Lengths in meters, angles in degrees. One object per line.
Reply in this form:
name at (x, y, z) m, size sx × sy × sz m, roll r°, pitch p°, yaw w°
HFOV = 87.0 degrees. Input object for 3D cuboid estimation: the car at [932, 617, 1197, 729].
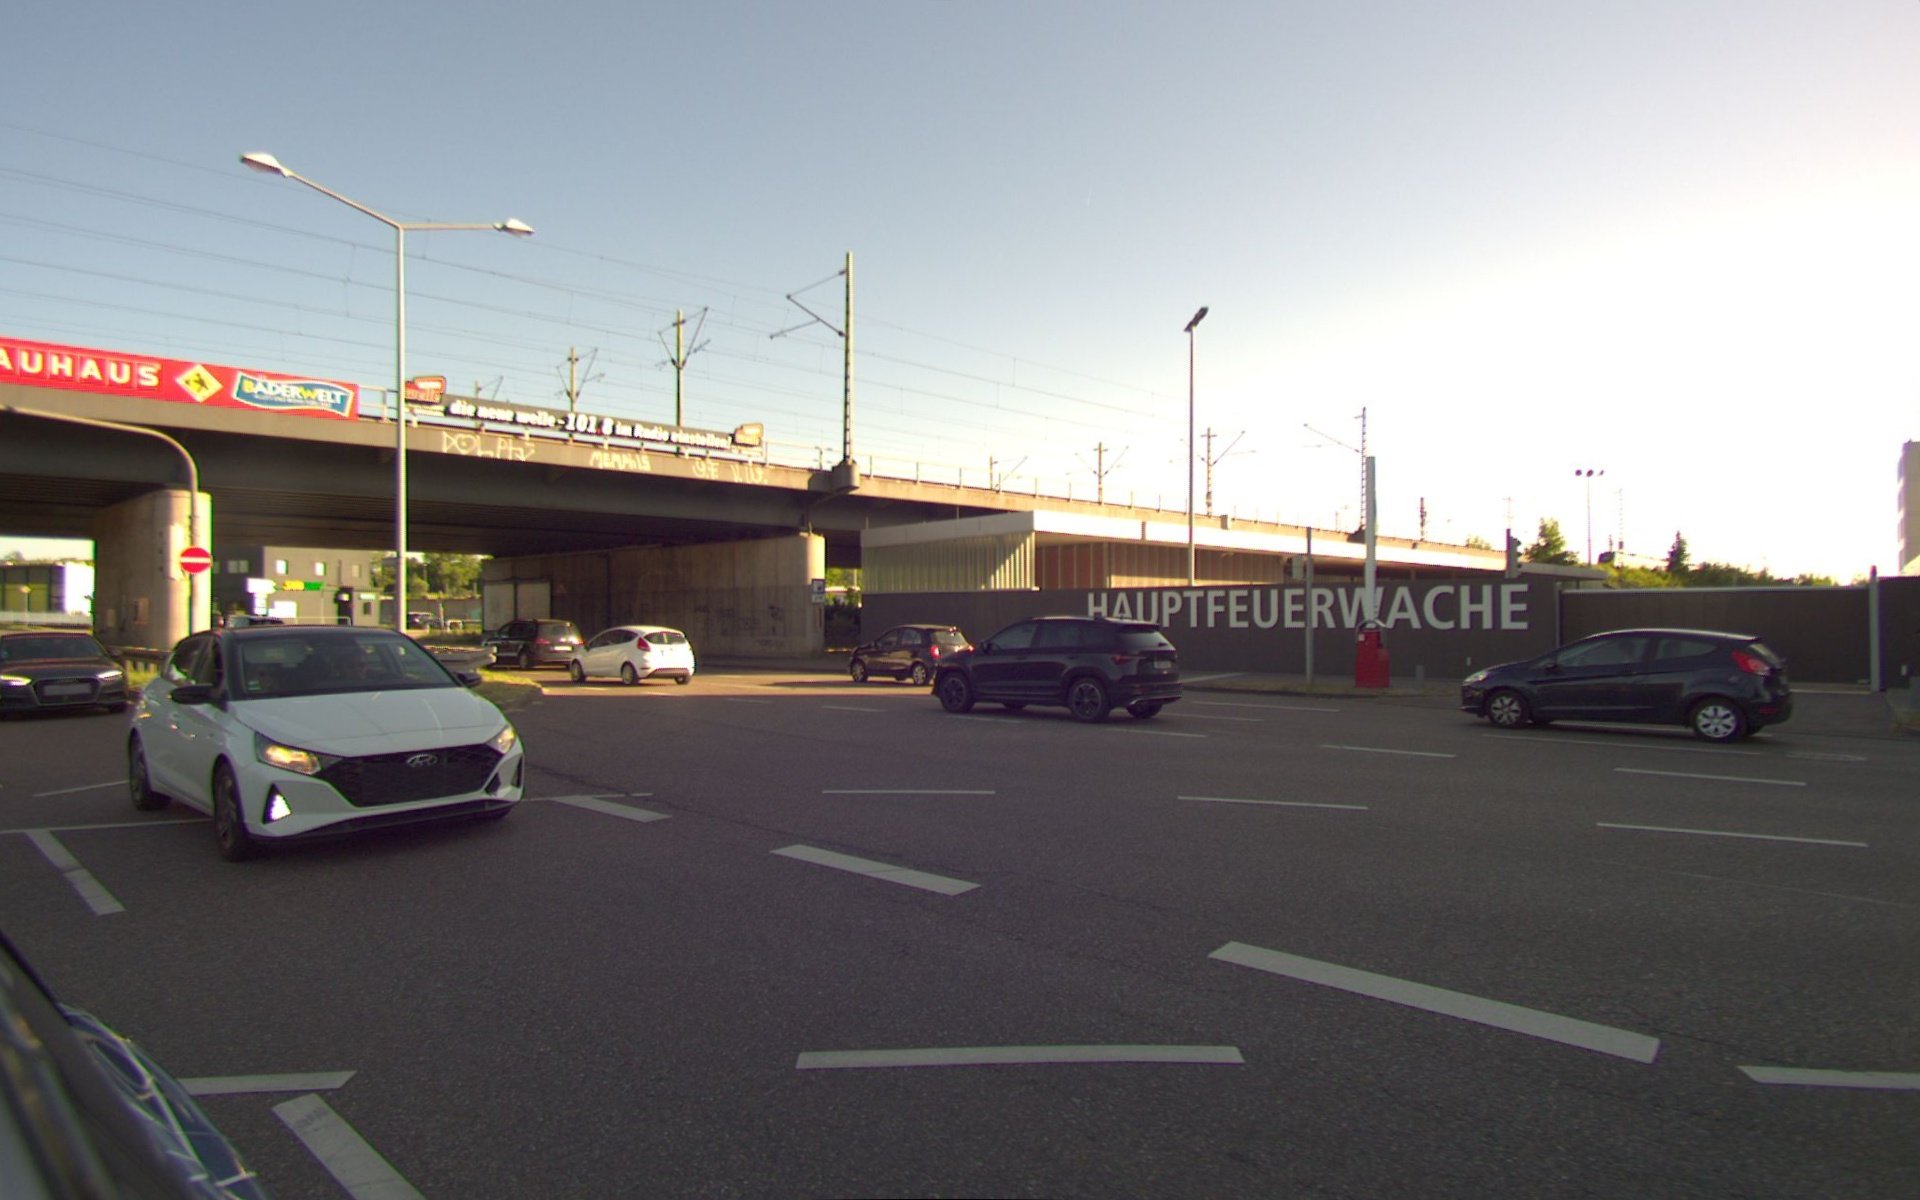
car at (1.552, 1.088, 15.998) m, size 3.999 × 1.552 × 1.610 m, roll -2°, pitch -4°, yaw 42°

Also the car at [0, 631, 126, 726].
car at (-15.936, 1.267, 17.494) m, size 4.363 × 1.415 × 1.680 m, roll -2°, pitch -1°, yaw 41°

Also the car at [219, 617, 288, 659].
car at (-31.161, 1.637, 44.614) m, size 4.001 × 1.709 × 1.790 m, roll -1°, pitch 0°, yaw 44°

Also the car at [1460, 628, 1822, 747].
car at (9.312, 1.109, 14.086) m, size 1.472 × 1.422 × 3.941 m, roll 2°, pitch -2°, yaw -44°

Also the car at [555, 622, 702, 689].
car at (-8.442, 1.379, 25.620) m, size 3.998 × 1.552 × 1.704 m, roll -2°, pitch -4°, yaw 41°

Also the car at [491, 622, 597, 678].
car at (-13.972, 1.635, 33.923) m, size 3.998 × 1.753 × 1.704 m, roll -2°, pitch -3°, yaw 41°

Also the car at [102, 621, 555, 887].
car at (-4.859, 0.904, 7.545) m, size 4.072 × 1.419 × 1.760 m, roll -2°, pitch -1°, yaw 41°

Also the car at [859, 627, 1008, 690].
car at (-0.727, 1.438, 25.697) m, size 1.761 × 1.496 × 3.679 m, roll 3°, pitch -3°, yaw -44°

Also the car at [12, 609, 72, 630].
car at (-80.039, 1.677, 88.226) m, size 3.843 × 1.667 × 1.724 m, roll -1°, pitch 0°, yaw -44°
